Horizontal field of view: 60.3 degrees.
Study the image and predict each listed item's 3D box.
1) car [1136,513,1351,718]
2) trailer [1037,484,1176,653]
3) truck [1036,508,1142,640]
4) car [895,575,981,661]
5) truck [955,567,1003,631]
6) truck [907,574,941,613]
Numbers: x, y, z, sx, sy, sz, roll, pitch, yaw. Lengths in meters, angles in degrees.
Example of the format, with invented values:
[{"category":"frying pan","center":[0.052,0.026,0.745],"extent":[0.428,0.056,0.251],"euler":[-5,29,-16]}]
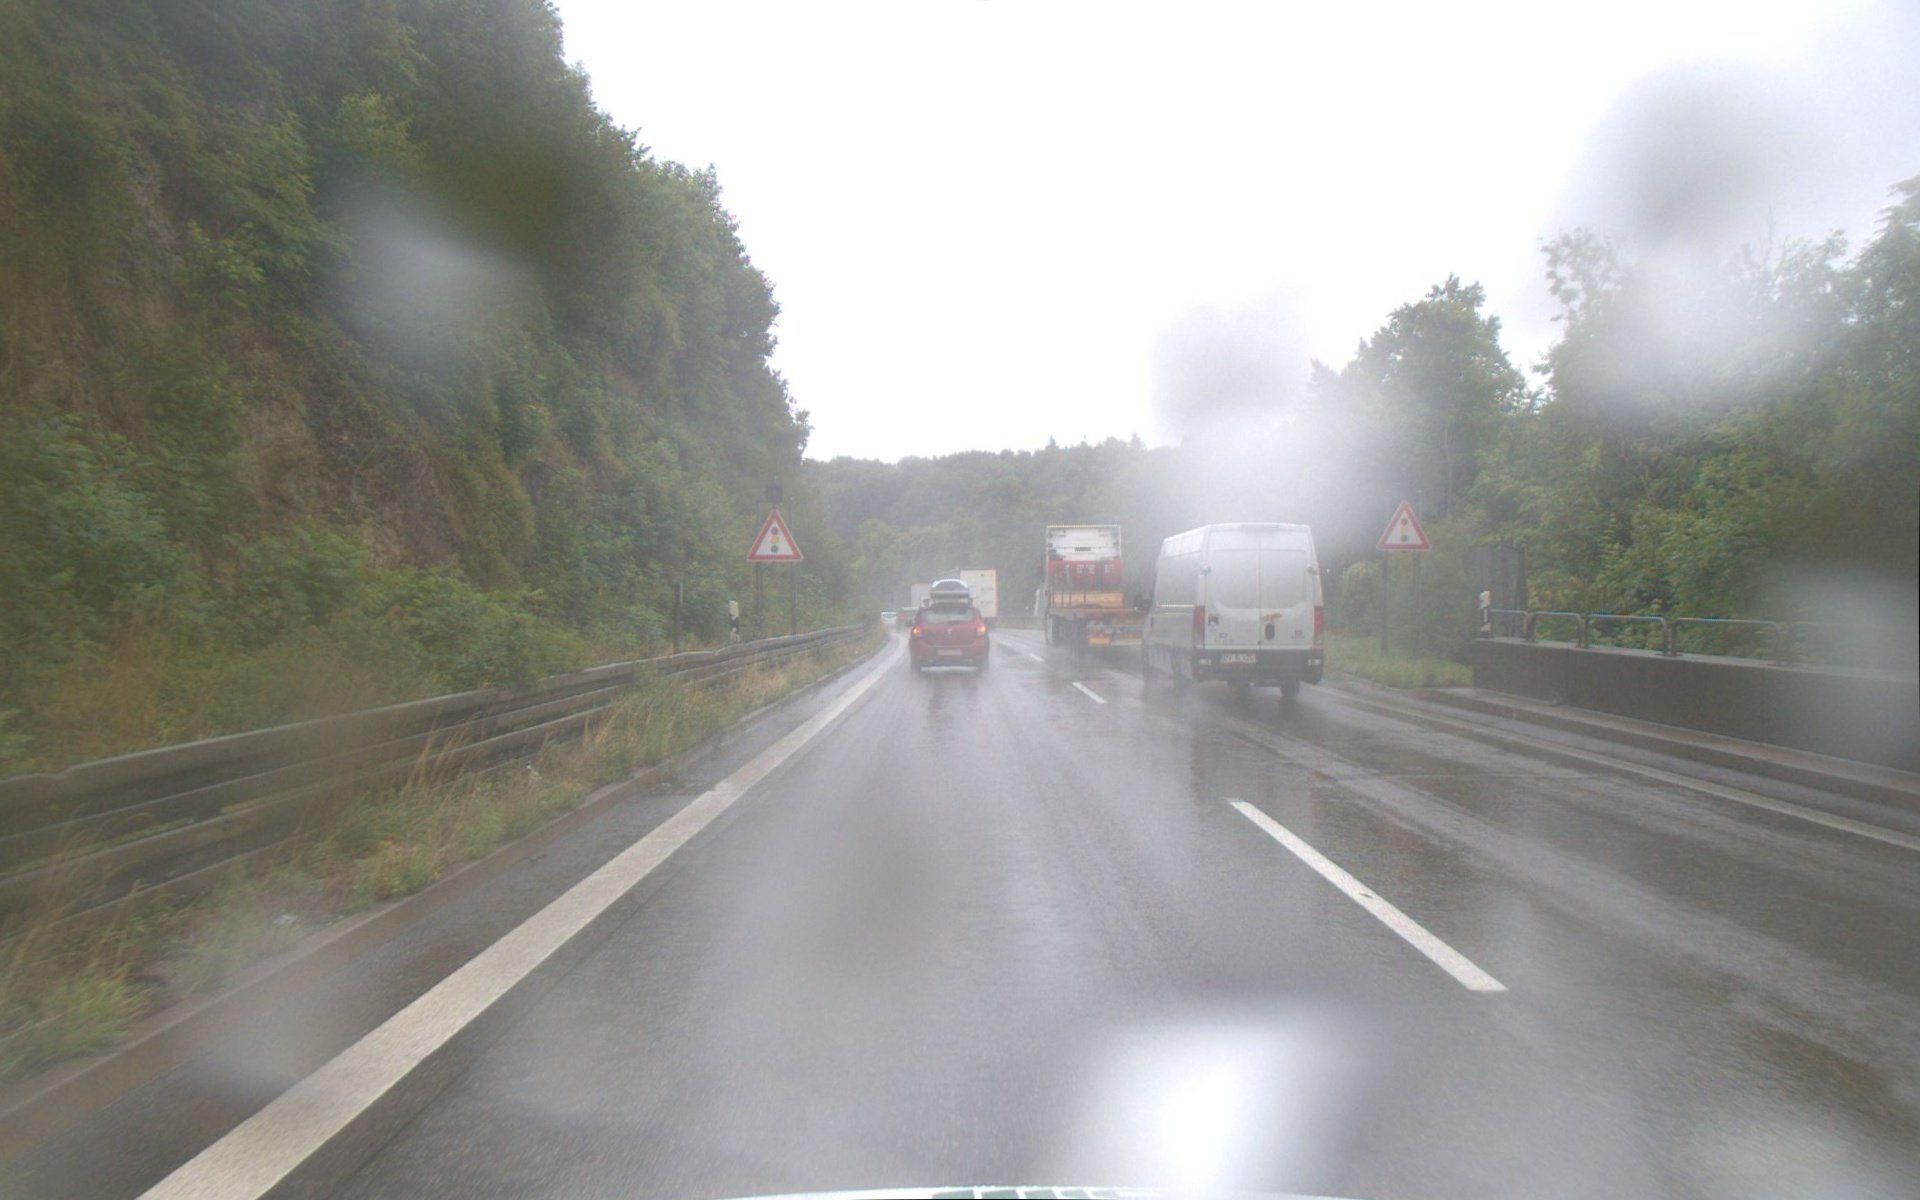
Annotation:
[{"category":"car","center":[4.414,0.207,27.123],"extent":[2.161,2.843,7.382],"euler":[2,0,0]},{"category":"trailer","center":[3.878,-0.794,47.030],"extent":[3.151,4.068,13.527],"euler":[0,0,2]},{"category":"truck","center":[4.103,-0.810,53.677],"extent":[3.153,4.047,5.440],"euler":[0,0,2]},{"category":"car","center":[-0.452,0.358,36.030],"extent":[1.722,1.714,4.000],"euler":[-2,0,0]},{"category":"truck","center":[1.235,-0.075,113.964],"extent":[2.633,4.165,9.310],"euler":[-2,0,-3]},{"category":"truck","center":[-3.307,-0.614,150.414],"extent":[3.000,3.369,8.068],"euler":[0,0,-1]}]
